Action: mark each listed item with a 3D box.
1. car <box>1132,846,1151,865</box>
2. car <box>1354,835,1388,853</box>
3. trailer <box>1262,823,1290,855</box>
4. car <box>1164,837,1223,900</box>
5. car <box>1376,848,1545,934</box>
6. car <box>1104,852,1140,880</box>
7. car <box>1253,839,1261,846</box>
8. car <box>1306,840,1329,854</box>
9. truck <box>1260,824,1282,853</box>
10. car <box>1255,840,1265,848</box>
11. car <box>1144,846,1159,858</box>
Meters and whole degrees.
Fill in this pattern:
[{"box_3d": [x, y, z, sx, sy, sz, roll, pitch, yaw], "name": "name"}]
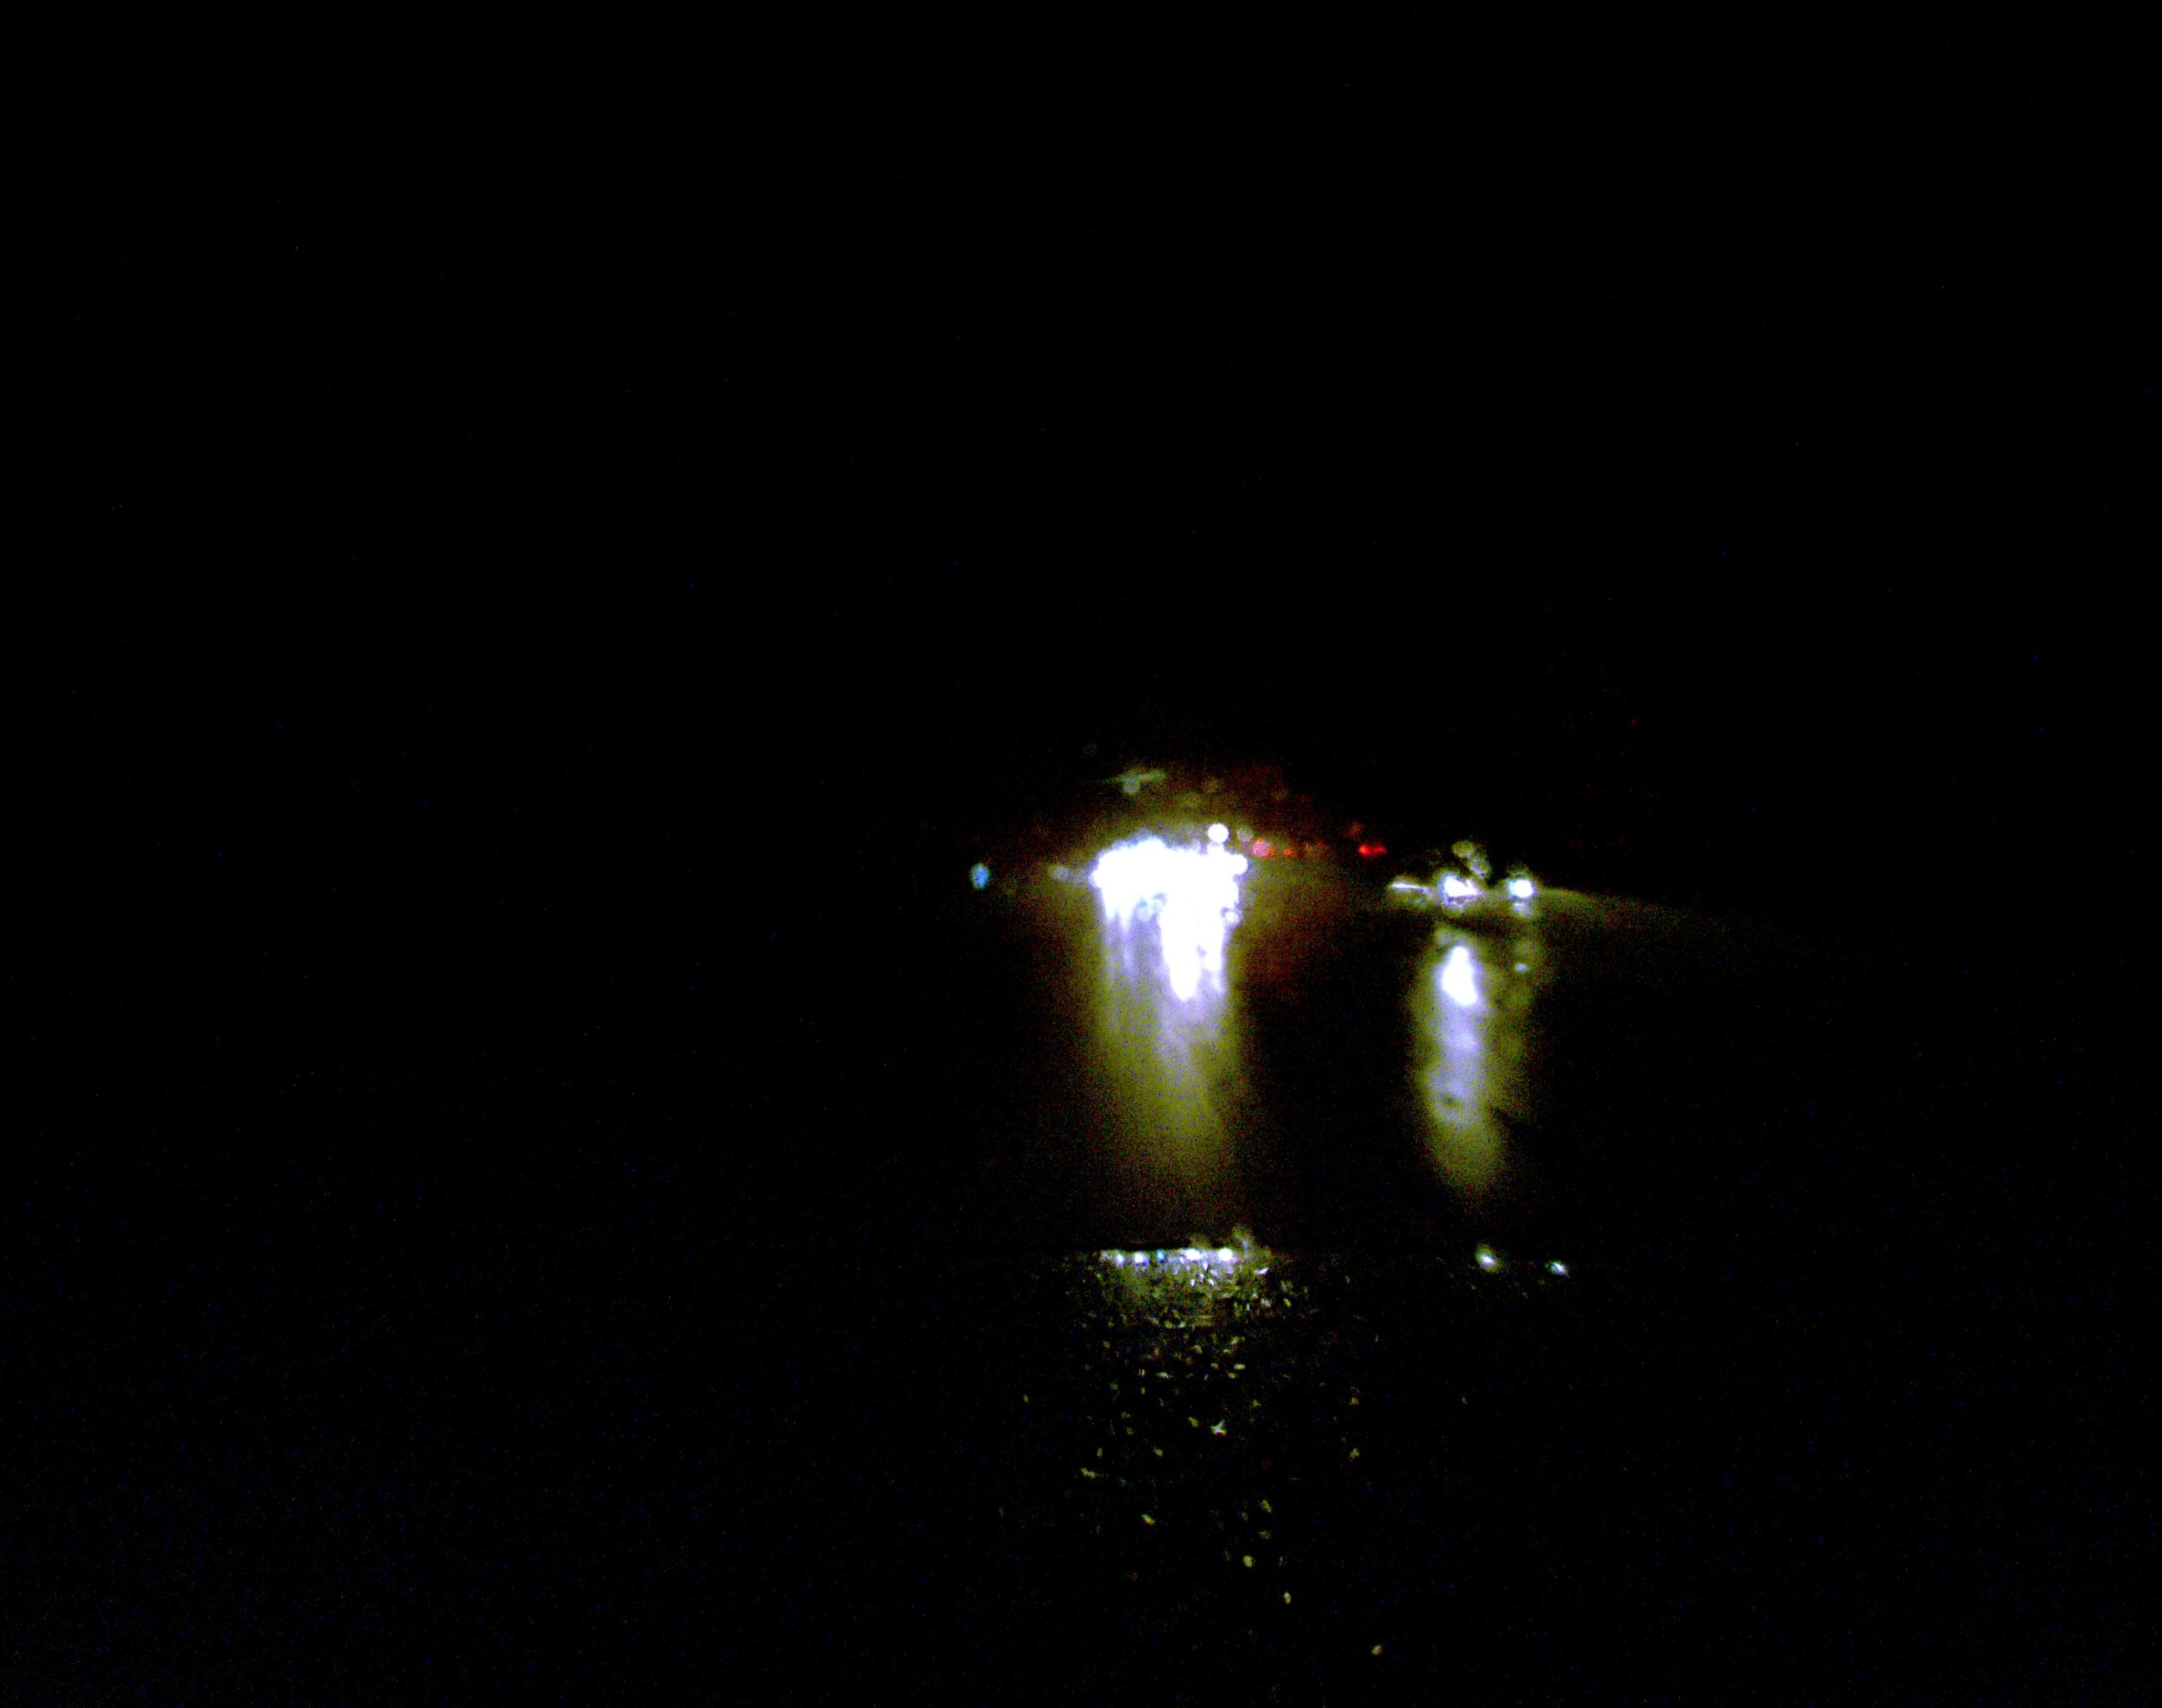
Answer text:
[{"box_3d": [6.844, 0.121, 85.910, 1.998, 2.002, 4.001, -4, 1, 6], "name": "car"}, {"box_3d": [27.932, -0.986, 73.335, 1.902, 1.634, 4.197, -3, 1, 3], "name": "car"}, {"box_3d": [28.768, -2.253, 112.651, 2.580, 4.432, 12.498, -3, 1, 9], "name": "trailer"}, {"box_3d": [4.073, 0.490, 28.085, 1.753, 2.093, 4.464, -1, 0, 4], "name": "car"}, {"box_3d": [7.790, 0.680, 16.020, 1.653, 1.566, 3.849, -1, 0, 1], "name": "car"}, {"box_3d": [2.684, 0.750, 48.890, 1.891, 1.603, 4.001, -2, 1, 7], "name": "car"}, {"box_3d": [44.575, -2.912, 192.720, 1.767, 1.487, 3.805, -2, 1, 9], "name": "car"}, {"box_3d": [31.390, -1.004, 100.954, 1.998, 1.718, 4.001, -3, 1, 5], "name": "car"}, {"box_3d": [29.940, -2.483, 120.036, 2.569, 4.379, 5.853, -3, 1, 9], "name": "truck"}, {"box_3d": [42.269, -2.374, 179.521, 1.811, 1.602, 4.202, -2, -1, 10], "name": "car"}, {"box_3d": [12.651, -0.372, 136.487, 1.999, 2.002, 3.998, -4, 1, -4], "name": "car"}]
